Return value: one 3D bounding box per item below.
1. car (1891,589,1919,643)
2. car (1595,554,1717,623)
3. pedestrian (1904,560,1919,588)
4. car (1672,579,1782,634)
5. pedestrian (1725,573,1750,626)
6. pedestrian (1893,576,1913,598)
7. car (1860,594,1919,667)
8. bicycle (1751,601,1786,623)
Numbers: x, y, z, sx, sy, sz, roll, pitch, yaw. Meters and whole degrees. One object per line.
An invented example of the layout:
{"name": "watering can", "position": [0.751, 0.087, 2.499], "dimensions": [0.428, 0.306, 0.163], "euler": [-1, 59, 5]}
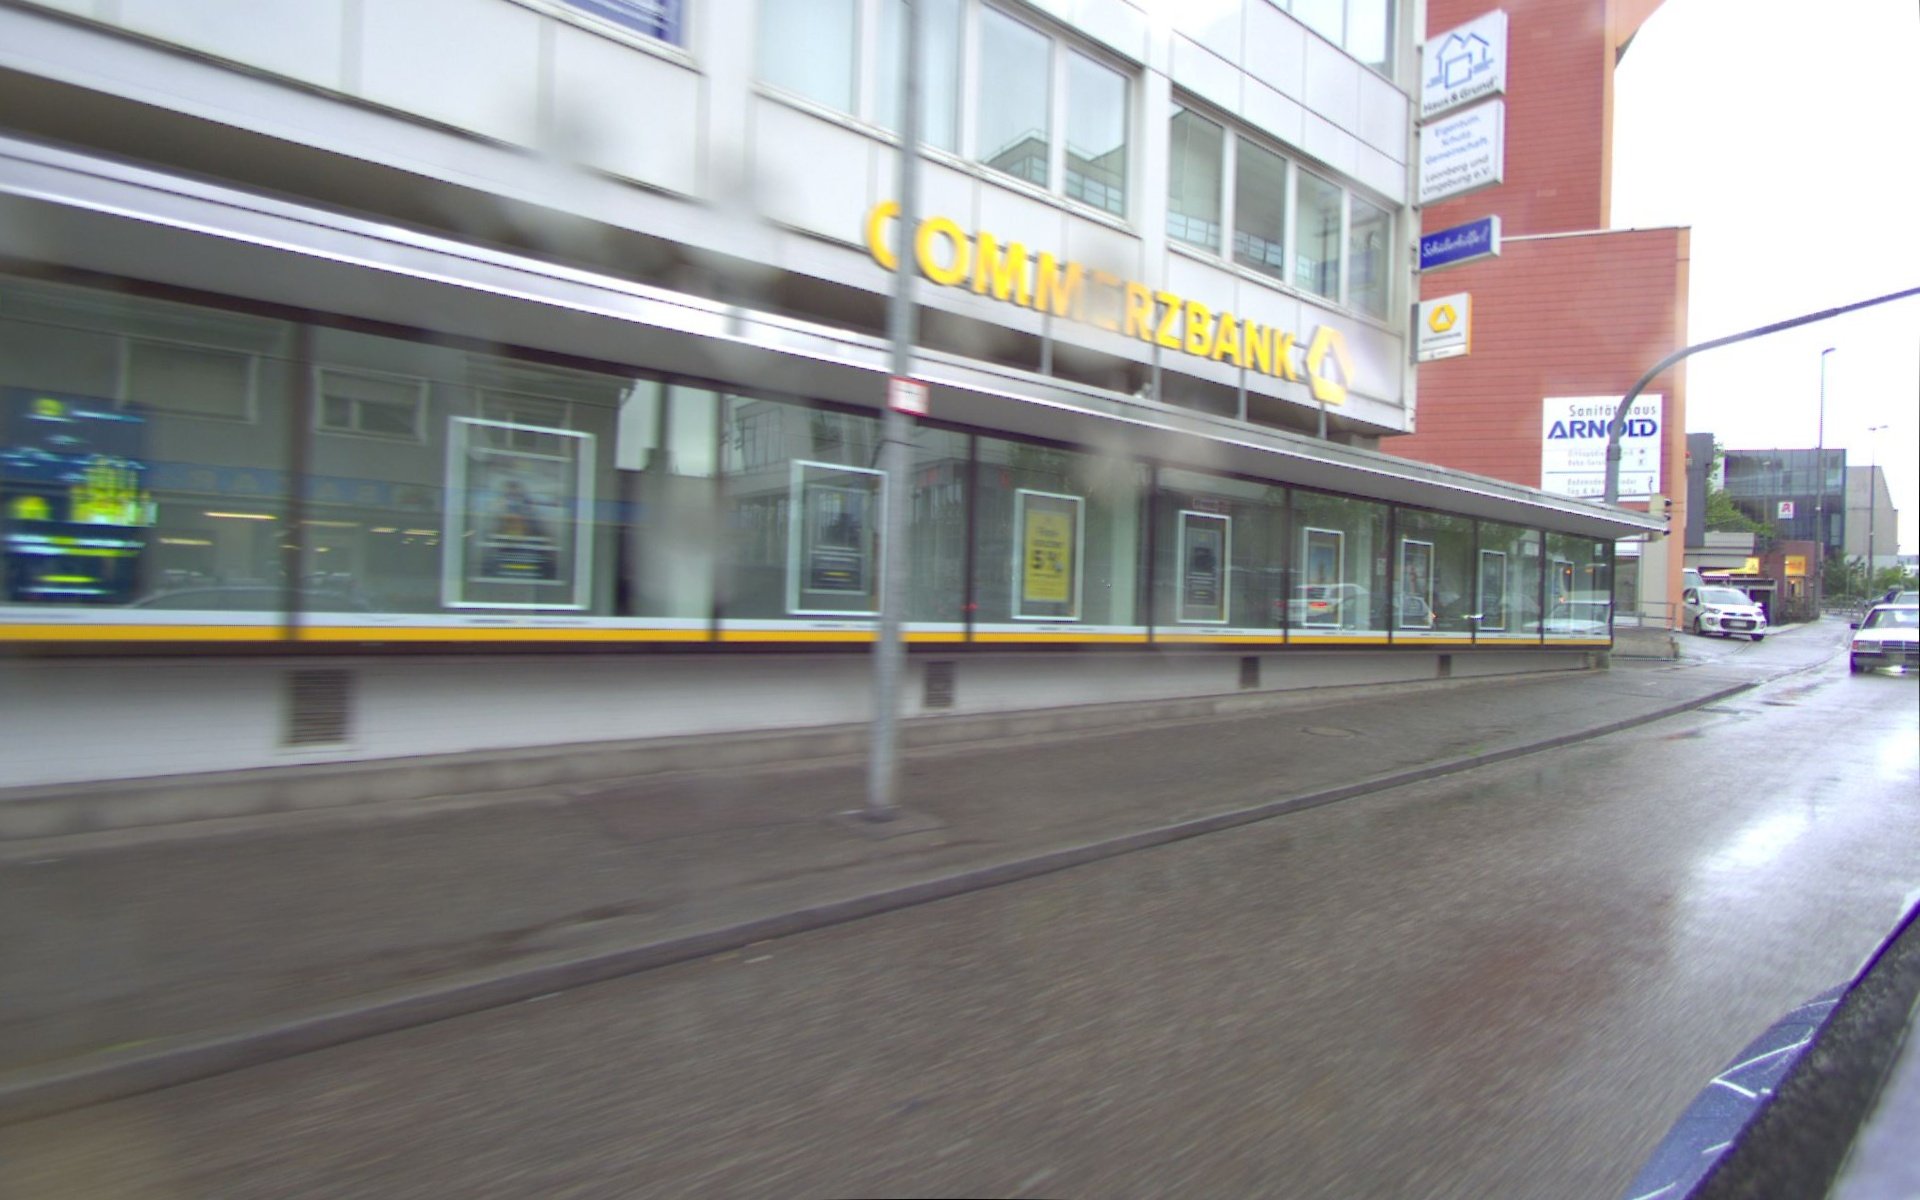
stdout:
{"name": "car", "position": [32.102, 0.506, 33.138], "dimensions": [4.405, 1.667, 2.055], "euler": [-1, 2, -43]}
{"name": "car", "position": [25.120, -0.345, 36.762], "dimensions": [1.979, 2.237, 4.852], "euler": [3, -1, 14]}
{"name": "pedestrian", "position": [63.101, -1.707, 66.967], "dimensions": [0.782, 1.825, 0.689], "euler": [0, 4, -34]}
{"name": "car", "position": [22.661, 0.153, 30.039], "dimensions": [1.596, 1.480, 3.402], "euler": [1, 2, 20]}
{"name": "pedestrian", "position": [26.907, -0.017, 35.023], "dimensions": [0.593, 1.789, 0.591], "euler": [2, 0, 43]}
{"name": "pedestrian", "position": [61.933, -0.878, 66.464], "dimensions": [0.757, 1.396, 0.689], "euler": [0, 4, -34]}
{"name": "car", "position": [19.768, 0.587, 20.643], "dimensions": [3.926, 1.324, 1.660], "euler": [-1, 2, -42]}
{"name": "bicycle", "position": [38.468, 0.584, 48.153], "dimensions": [0.522, 0.949, 1.573], "euler": [3, 2, 9]}
